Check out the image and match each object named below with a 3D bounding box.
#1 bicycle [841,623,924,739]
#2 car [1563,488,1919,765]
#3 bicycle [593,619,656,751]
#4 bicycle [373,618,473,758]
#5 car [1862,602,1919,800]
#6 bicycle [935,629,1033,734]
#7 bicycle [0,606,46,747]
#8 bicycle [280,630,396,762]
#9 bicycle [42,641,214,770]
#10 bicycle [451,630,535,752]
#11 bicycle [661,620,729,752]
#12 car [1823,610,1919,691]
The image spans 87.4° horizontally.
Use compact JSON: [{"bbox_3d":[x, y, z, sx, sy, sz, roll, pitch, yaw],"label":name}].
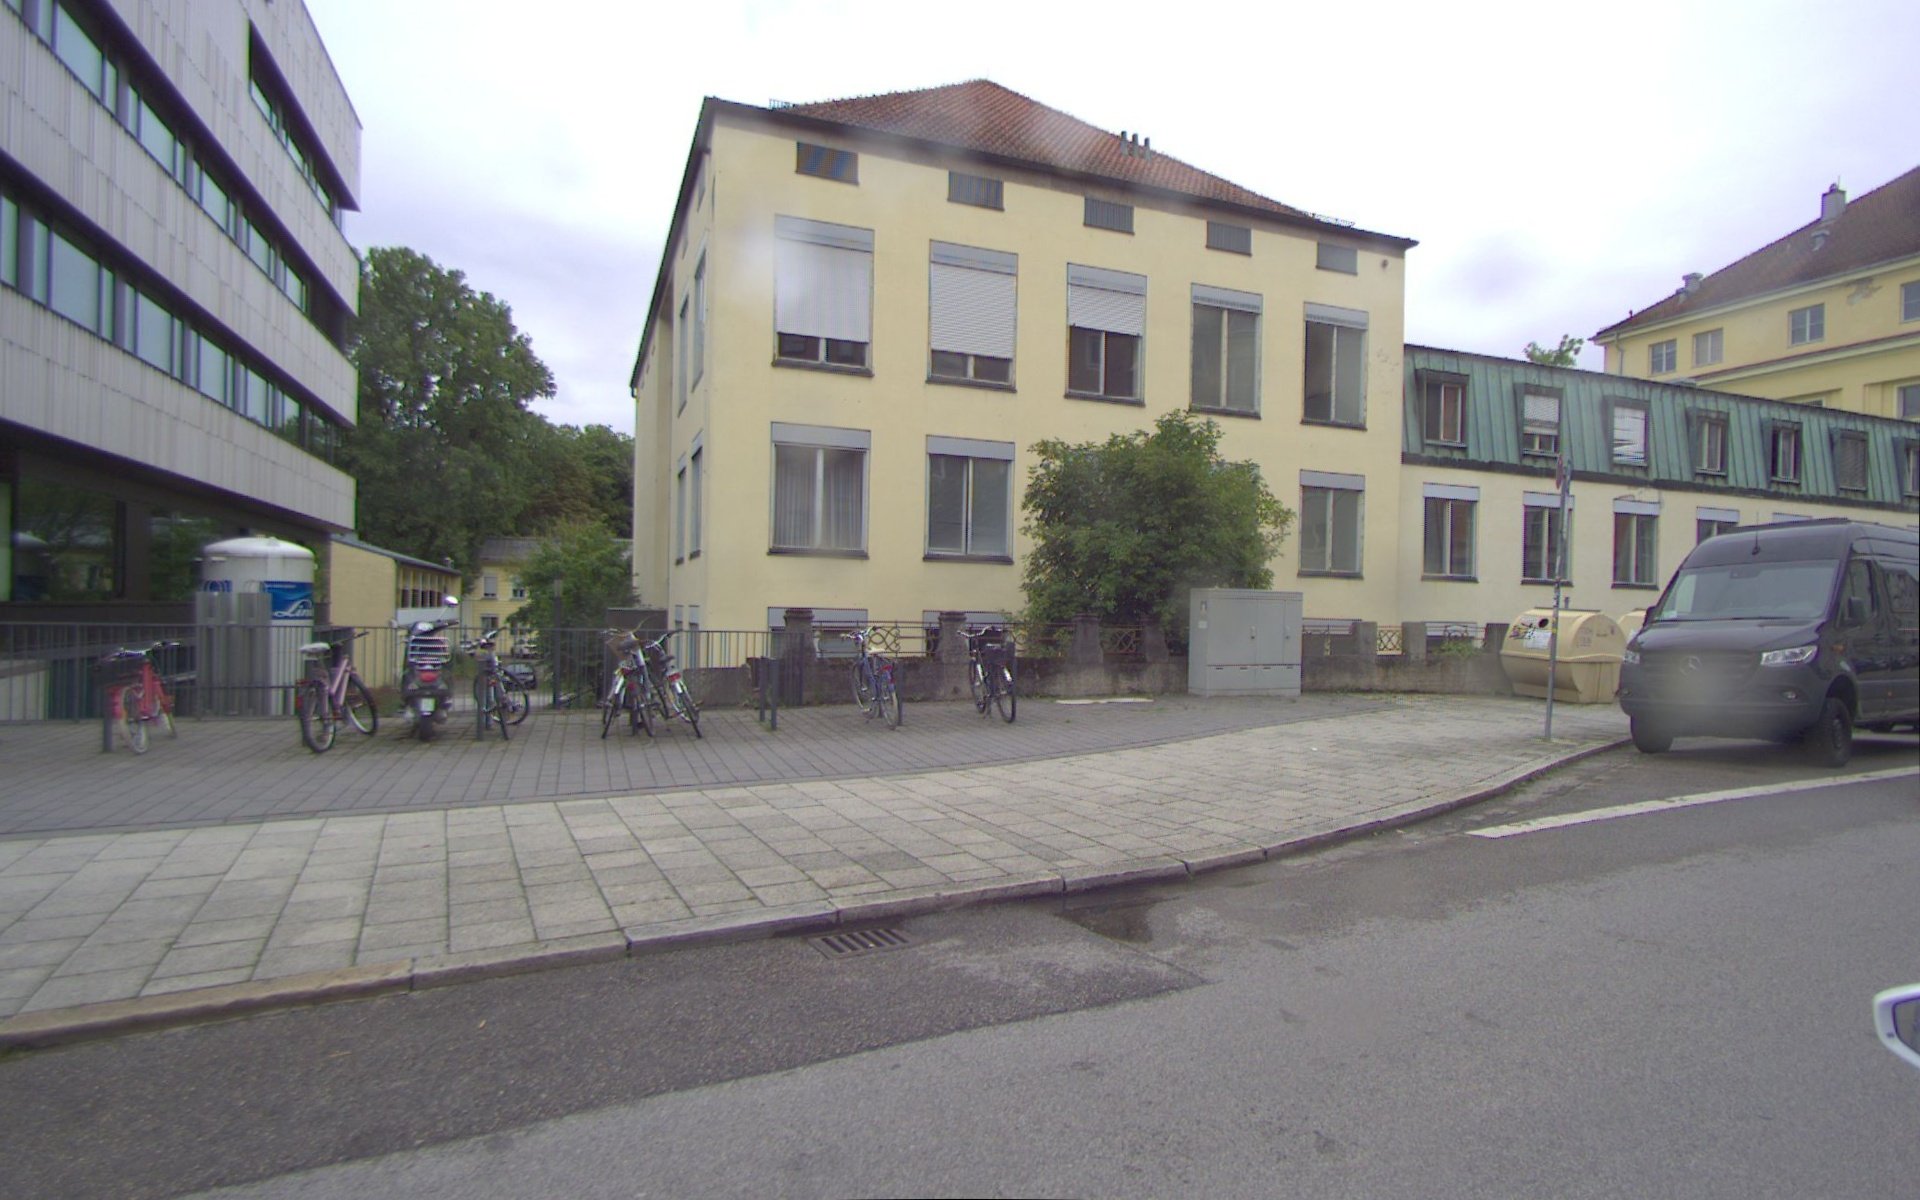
[{"bbox_3d":[-0.947,0.898,11.854,0.564,1.147,1.955,0,2,-17],"label":"bicycle"},{"bbox_3d":[10.406,0.365,12.518,5.881,2.751,2.411,2,-2,-30],"label":"car"},{"bbox_3d":[-3.562,0.836,10.763,0.572,1.150,2.309,0,2,-17],"label":"bicycle"},{"bbox_3d":[-5.454,0.817,10.329,0.417,1.222,2.552,0,0,-17],"label":"bicycle"},{"bbox_3d":[10.216,0.910,8.781,4.447,1.642,2.019,3,-3,-27],"label":"car"},{"bbox_3d":[0.266,0.982,12.694,0.666,1.107,1.903,0,2,-17],"label":"bicycle"},{"bbox_3d":[-8.902,0.715,8.573,0.774,1.244,2.103,0,2,-17],"label":"bicycle"},{"bbox_3d":[-5.965,0.871,9.716,0.499,1.047,1.789,0,2,-17],"label":"bicycle"},{"bbox_3d":[-7.452,0.899,9.089,0.585,0.929,1.673,0,2,-17],"label":"bicycle"},{"bbox_3d":[-4.862,0.897,10.547,0.531,1.043,1.865,0,2,-17],"label":"bicycle"},{"bbox_3d":[-2.951,0.865,11.050,0.626,1.156,2.485,0,2,-17],"label":"bicycle"},{"bbox_3d":[22.725,1.124,23.683,3.941,1.710,1.989,0,2,-22],"label":"car"}]
